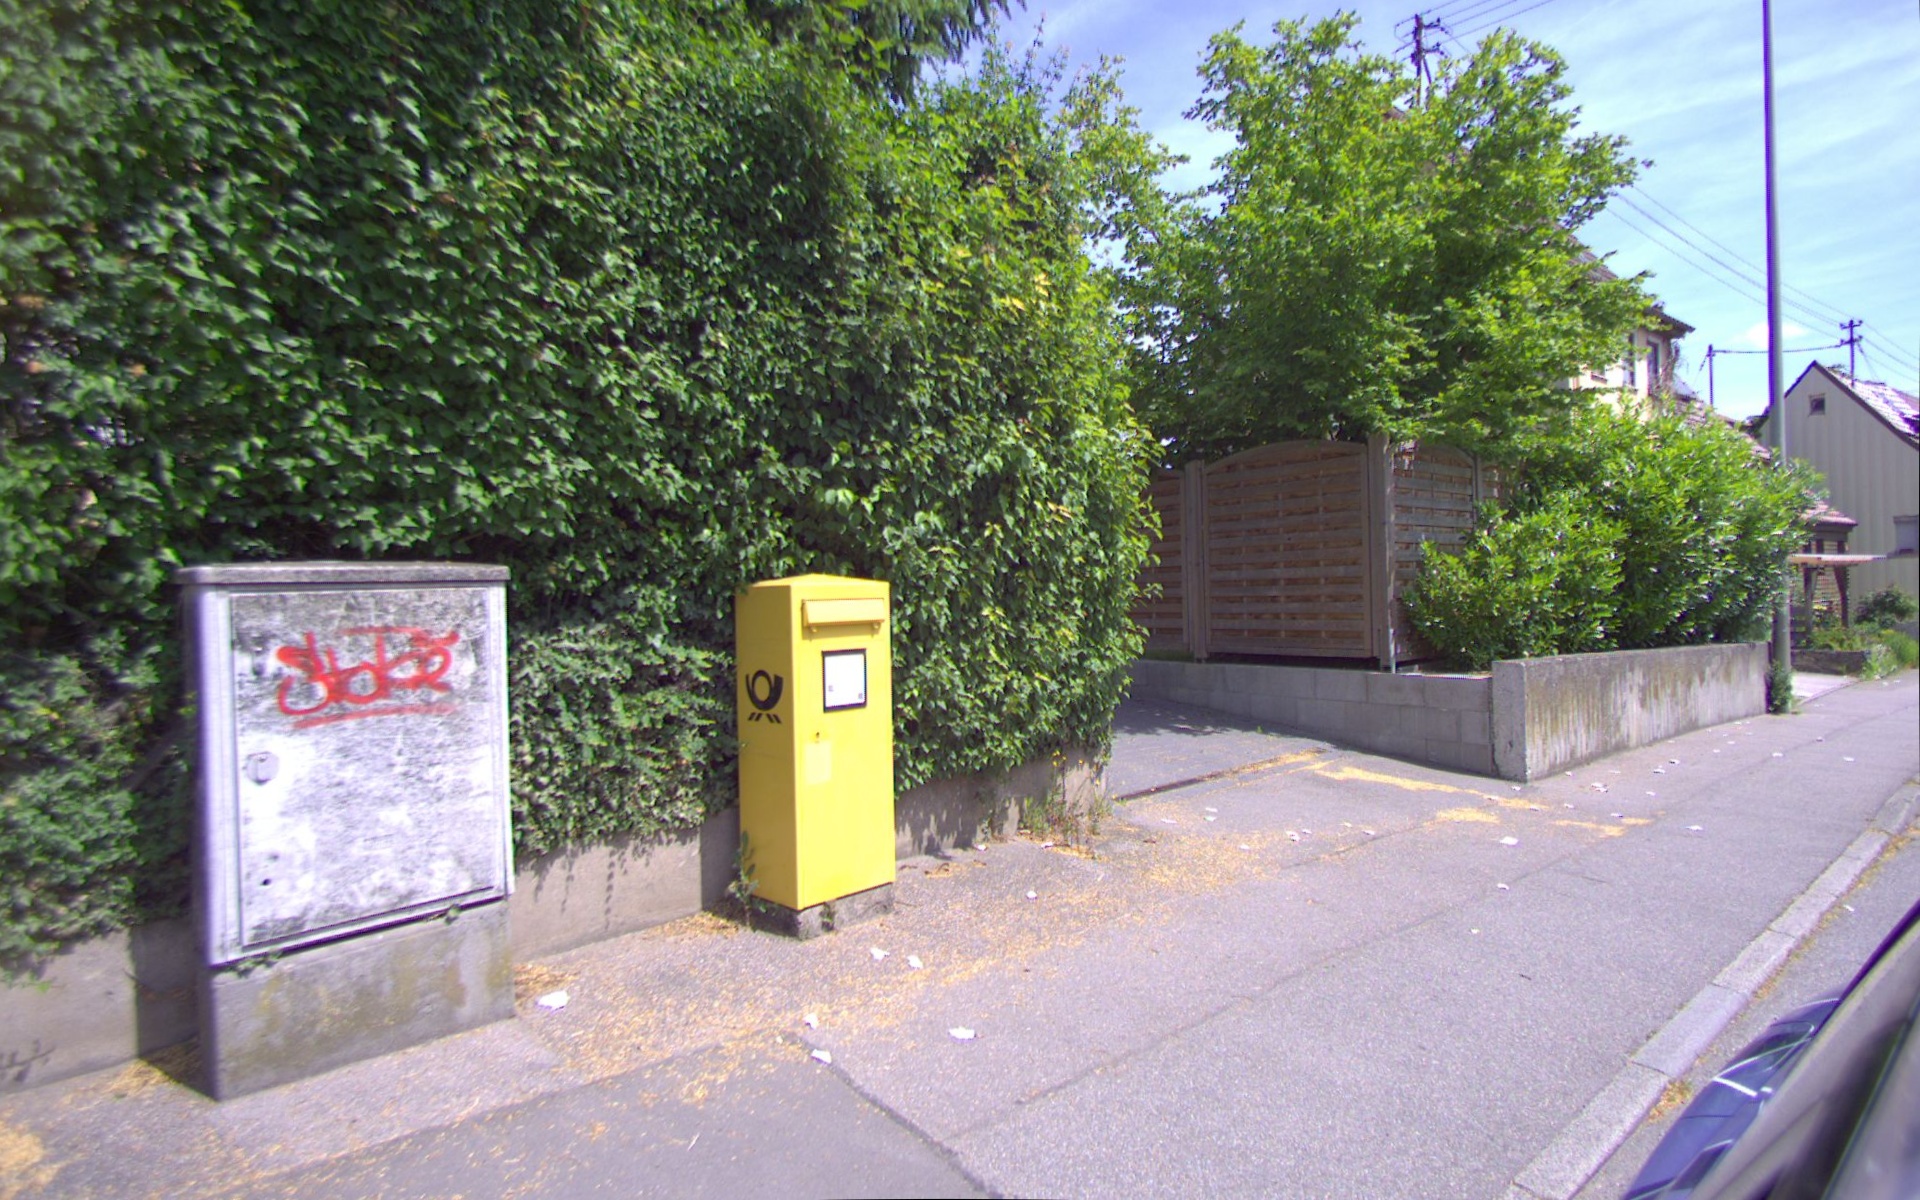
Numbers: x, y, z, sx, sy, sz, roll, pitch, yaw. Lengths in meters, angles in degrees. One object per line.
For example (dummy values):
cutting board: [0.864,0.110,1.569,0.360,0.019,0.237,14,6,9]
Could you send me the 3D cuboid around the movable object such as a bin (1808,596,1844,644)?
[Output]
movable object such as a bin: [22.527,0.511,26.330,0.539,1.171,0.536,0,6,-41]
